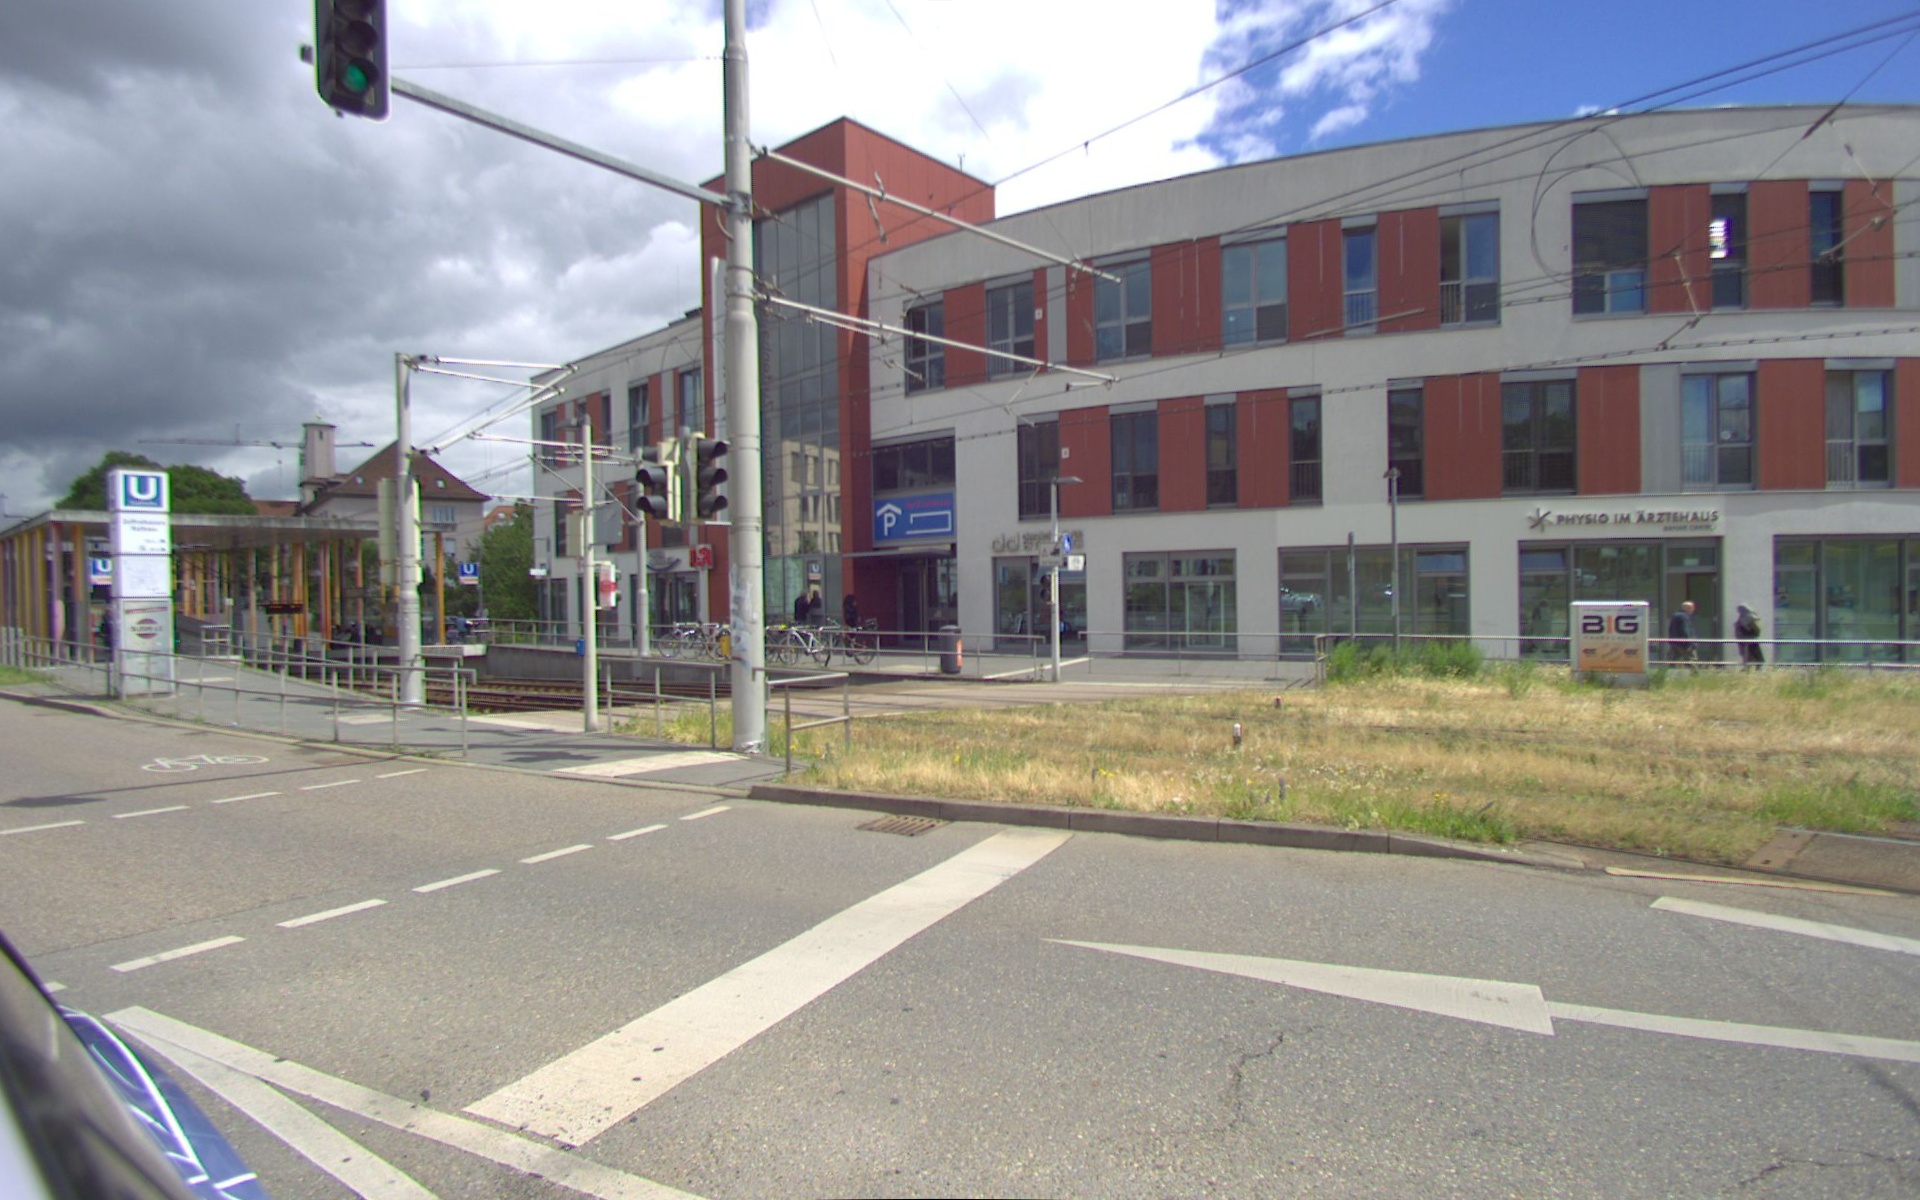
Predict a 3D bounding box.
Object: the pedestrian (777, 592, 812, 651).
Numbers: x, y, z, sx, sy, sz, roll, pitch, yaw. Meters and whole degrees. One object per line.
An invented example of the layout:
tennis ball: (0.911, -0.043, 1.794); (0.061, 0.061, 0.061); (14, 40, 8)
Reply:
pedestrian: (-5.311, 0.667, 32.491); (0.856, 1.859, 0.876); (0, 1, 13)

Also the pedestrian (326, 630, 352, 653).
pedestrian: (-31.547, 2.114, 51.431); (0.886, 1.143, 0.931); (-2, -1, 42)

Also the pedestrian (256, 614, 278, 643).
pedestrian: (-50.152, 2.066, 73.232); (1.112, 2.029, 1.180); (0, -2, -44)

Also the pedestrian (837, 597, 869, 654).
pedestrian: (-3.230, 0.763, 30.493); (0.921, 1.711, 0.790); (1, -1, -9)

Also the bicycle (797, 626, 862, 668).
bicycle: (-3.224, 1.140, 25.084); (0.428, 0.965, 1.716); (-1, 0, 43)

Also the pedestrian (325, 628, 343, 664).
pedestrian: (-35.857, 2.616, 57.936); (0.761, 2.029, 0.616); (-2, -1, 34)

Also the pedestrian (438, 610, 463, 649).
pedestrian: (-26.625, 1.531, 52.885); (0.852, 1.983, 1.107); (1, -1, -44)

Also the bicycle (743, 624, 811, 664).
bicycle: (-4.739, 1.129, 26.346); (0.454, 0.970, 1.837); (-1, 0, 43)

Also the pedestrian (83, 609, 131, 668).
pedestrian: (-28.268, 1.263, 33.548); (0.864, 1.929, 1.090); (0, -1, 42)

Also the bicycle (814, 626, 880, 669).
bicycle: (-2.737, 1.141, 24.680); (0.428, 0.959, 1.716); (-1, 0, 43)

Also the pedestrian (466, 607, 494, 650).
pedestrian: (-22.411, 1.321, 47.242); (1.106, 1.983, 0.852); (0, -1, 43)

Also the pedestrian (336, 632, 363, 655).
pedestrian: (-30.113, 2.137, 49.913); (0.886, 1.143, 0.931); (-2, -1, 42)

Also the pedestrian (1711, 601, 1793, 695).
pedestrian: (17.145, 1.027, 21.940); (1.104, 1.983, 0.862); (0, -1, 10)

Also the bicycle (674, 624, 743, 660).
bicycle: (-6.982, 1.157, 28.152); (1.835, 0.939, 0.455); (0, 0, -41)

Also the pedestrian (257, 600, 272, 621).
pedestrian: (-65.650, 1.000, 95.569); (1.108, 2.029, 1.664); (0, -1, -36)

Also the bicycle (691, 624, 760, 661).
bicycle: (-6.369, 1.154, 27.593); (1.835, 0.929, 0.455); (0, 0, -42)

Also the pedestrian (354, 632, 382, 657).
pedestrian: (-28.548, 2.134, 48.804); (0.886, 1.143, 0.931); (-2, -1, 42)

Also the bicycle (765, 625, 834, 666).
bicycle: (-4.055, 1.140, 25.710); (0.454, 0.942, 1.837); (-1, 0, 43)

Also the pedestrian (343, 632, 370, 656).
pedestrian: (-29.396, 2.134, 49.278); (0.886, 1.143, 0.931); (-2, -1, 42)

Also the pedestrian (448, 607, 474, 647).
pedestrian: (-25.343, 1.363, 51.422); (0.852, 1.983, 1.107); (1, -1, -44)

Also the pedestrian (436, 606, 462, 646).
pedestrian: (-25.763, 1.323, 51.003); (0.852, 1.983, 1.107); (1, -1, -44)

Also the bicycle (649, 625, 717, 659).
bicycle: (-7.875, 1.193, 28.840); (1.834, 0.888, 0.455); (0, 0, -41)

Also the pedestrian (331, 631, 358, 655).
pedestrian: (-30.803, 2.141, 50.631); (0.886, 1.143, 0.931); (-2, -1, 42)

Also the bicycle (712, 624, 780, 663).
bicycle: (-5.697, 1.140, 26.994); (1.836, 0.946, 0.455); (0, 0, -45)

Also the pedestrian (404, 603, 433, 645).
pedestrian: (-26.094, 1.142, 48.777); (1.105, 1.983, 0.853); (0, -1, 39)

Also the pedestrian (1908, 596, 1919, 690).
pedestrian: (20.813, 0.918, 21.194); (1.094, 1.983, 0.861); (0, -1, 11)

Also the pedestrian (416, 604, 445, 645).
pedestrian: (-25.756, 1.191, 49.239); (1.105, 1.983, 0.853); (0, -1, 39)

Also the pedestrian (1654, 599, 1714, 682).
pedestrian: (14.120, 0.781, 19.753); (0.684, 1.592, 0.733); (-1, -1, 12)
